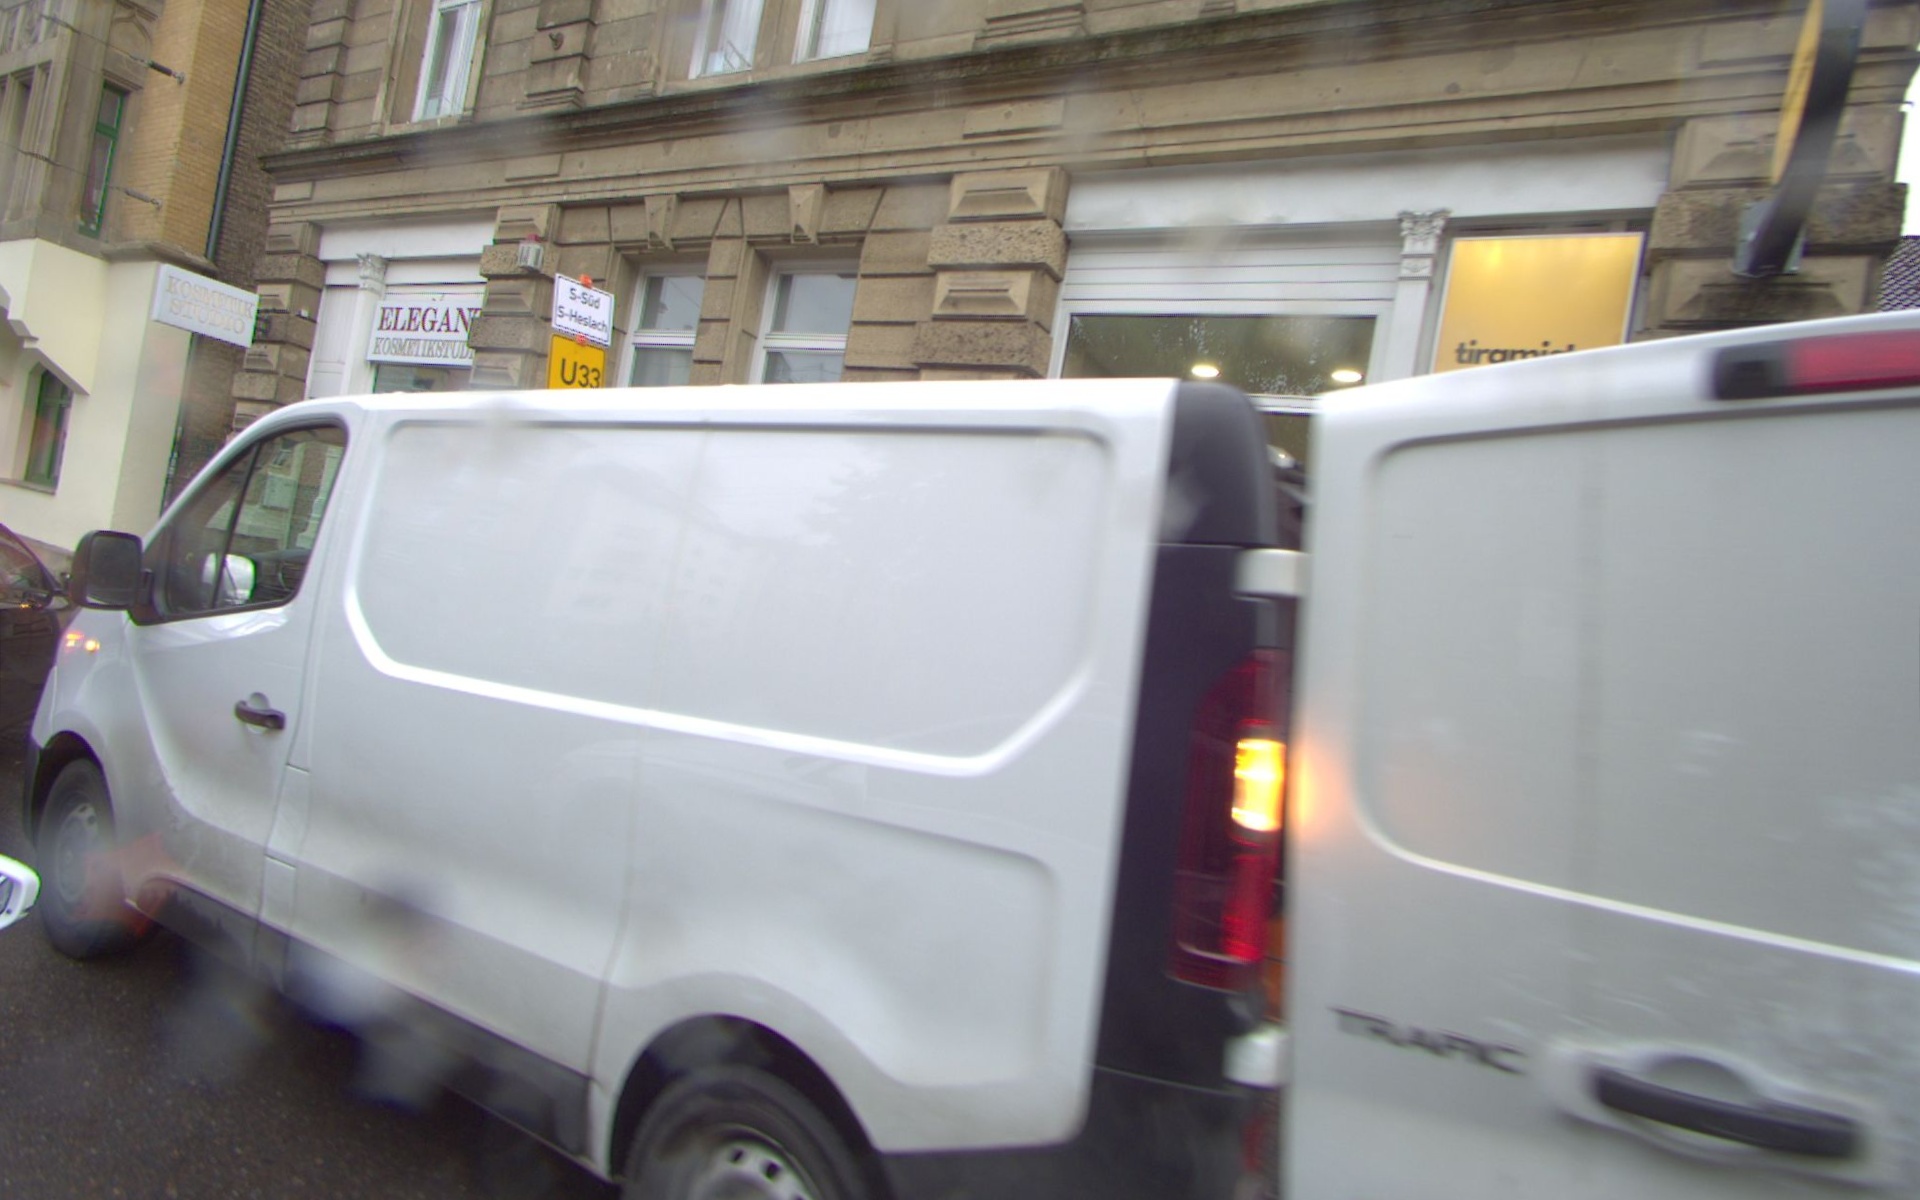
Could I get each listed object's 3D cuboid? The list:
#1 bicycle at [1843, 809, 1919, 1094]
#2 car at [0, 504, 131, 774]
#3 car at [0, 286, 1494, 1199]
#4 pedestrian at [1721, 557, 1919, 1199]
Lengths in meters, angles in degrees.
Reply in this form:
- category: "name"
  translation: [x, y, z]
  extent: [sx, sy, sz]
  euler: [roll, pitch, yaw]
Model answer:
- category: "bicycle"
  translation: [4.295, 1.511, 3.690]
  extent: [0.456, 1.128, 1.689]
  euler: [7, -1, -2]
- category: "car"
  translation: [-6.057, 0.067, 5.306]
  extent: [1.882, 1.406, 3.968]
  euler: [9, -2, -31]
- category: "car"
  translation: [-1.001, 0.437, 3.282]
  extent: [4.606, 1.958, 1.925]
  euler: [7, -2, 31]
- category: "pedestrian"
  translation: [1.768, 0.890, 1.633]
  extent: [0.675, 1.775, 0.835]
  euler: [7, 0, 31]
